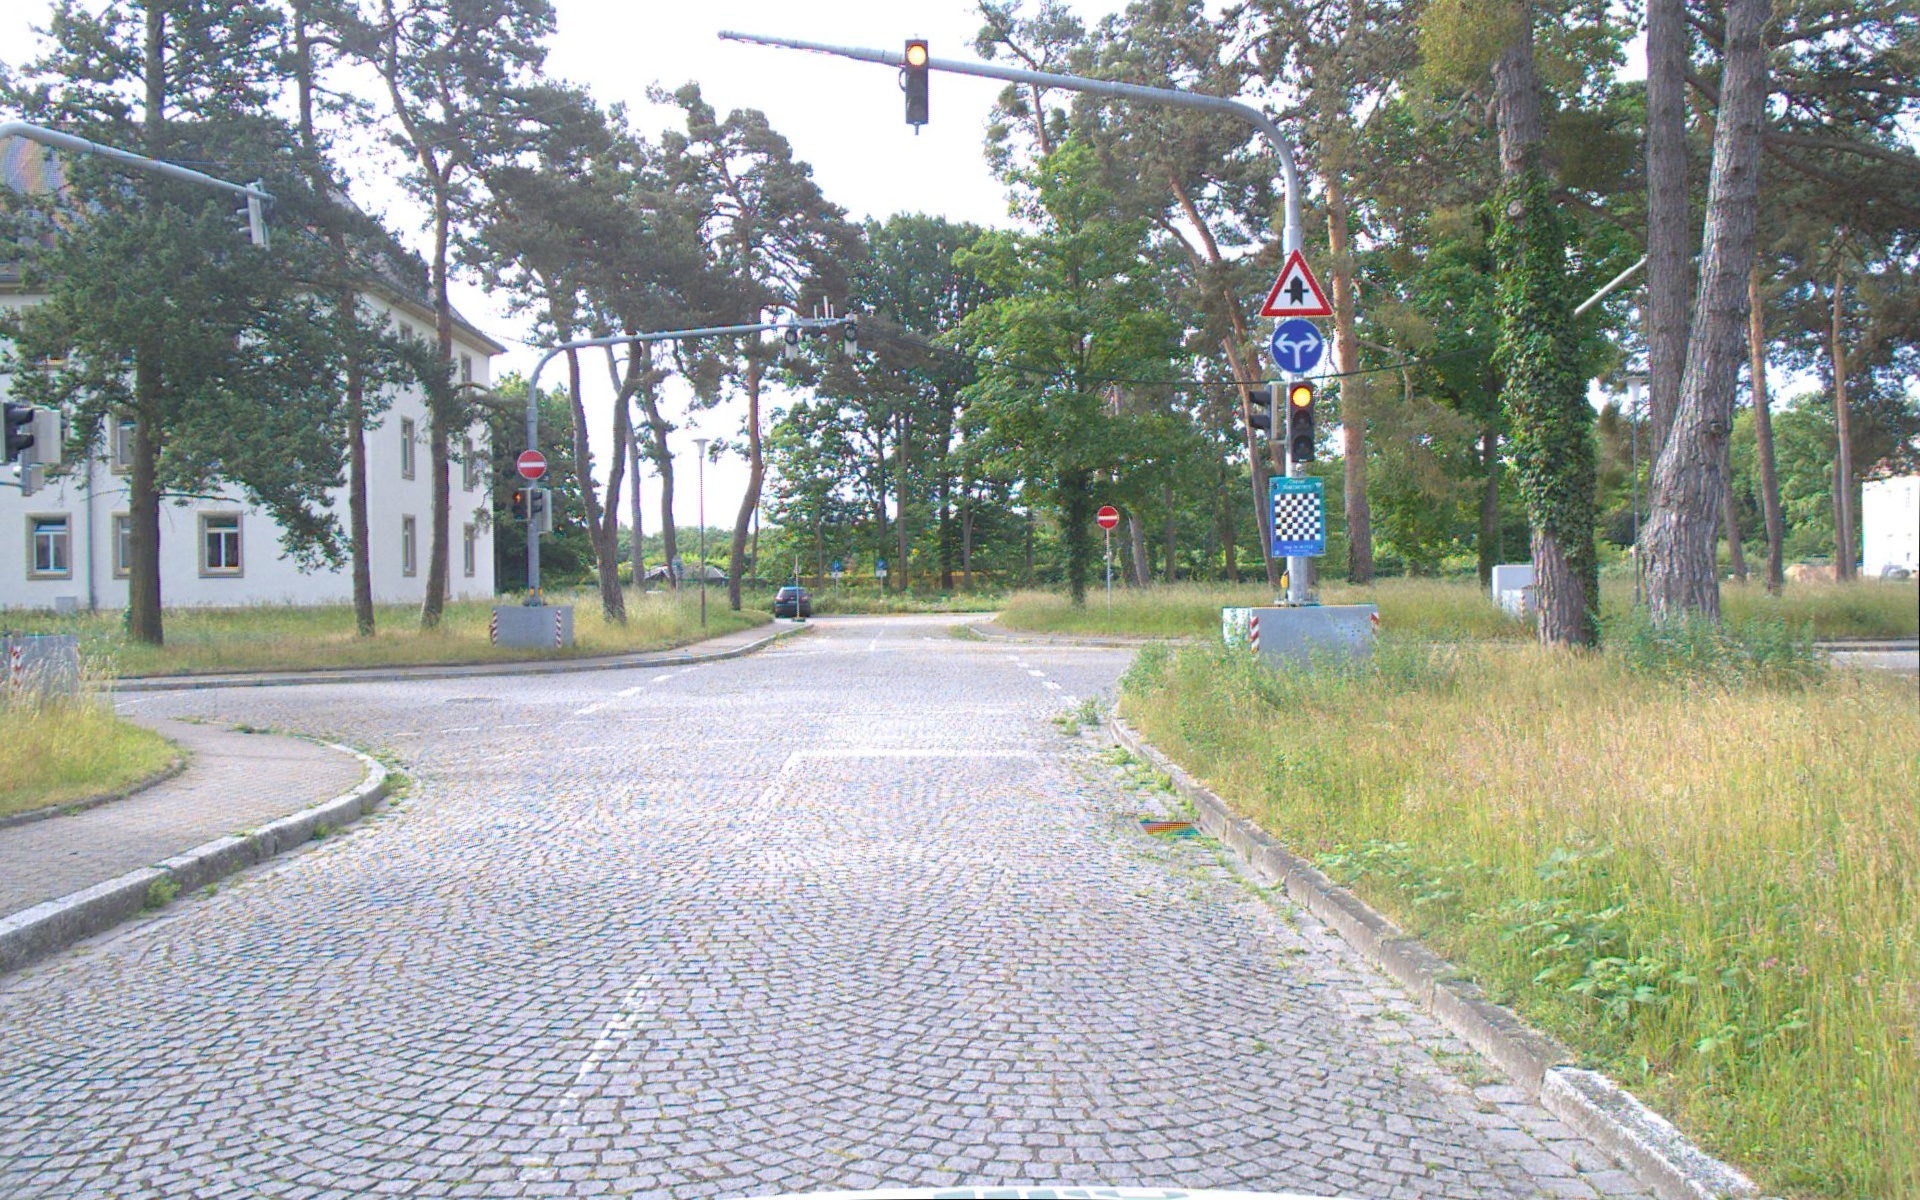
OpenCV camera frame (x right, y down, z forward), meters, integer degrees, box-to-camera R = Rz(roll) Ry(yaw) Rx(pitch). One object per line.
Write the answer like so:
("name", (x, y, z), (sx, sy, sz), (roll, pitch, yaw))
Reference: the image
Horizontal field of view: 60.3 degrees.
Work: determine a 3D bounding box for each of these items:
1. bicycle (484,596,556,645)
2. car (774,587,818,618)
("bicycle", (-9.477, 0.439, 35.653), (1.432, 1.013, 0.451), (-1, 0, -9))
("car", (-8.455, 0.112, 85.584), (1.953, 1.534, 3.999), (1, 1, -1))
